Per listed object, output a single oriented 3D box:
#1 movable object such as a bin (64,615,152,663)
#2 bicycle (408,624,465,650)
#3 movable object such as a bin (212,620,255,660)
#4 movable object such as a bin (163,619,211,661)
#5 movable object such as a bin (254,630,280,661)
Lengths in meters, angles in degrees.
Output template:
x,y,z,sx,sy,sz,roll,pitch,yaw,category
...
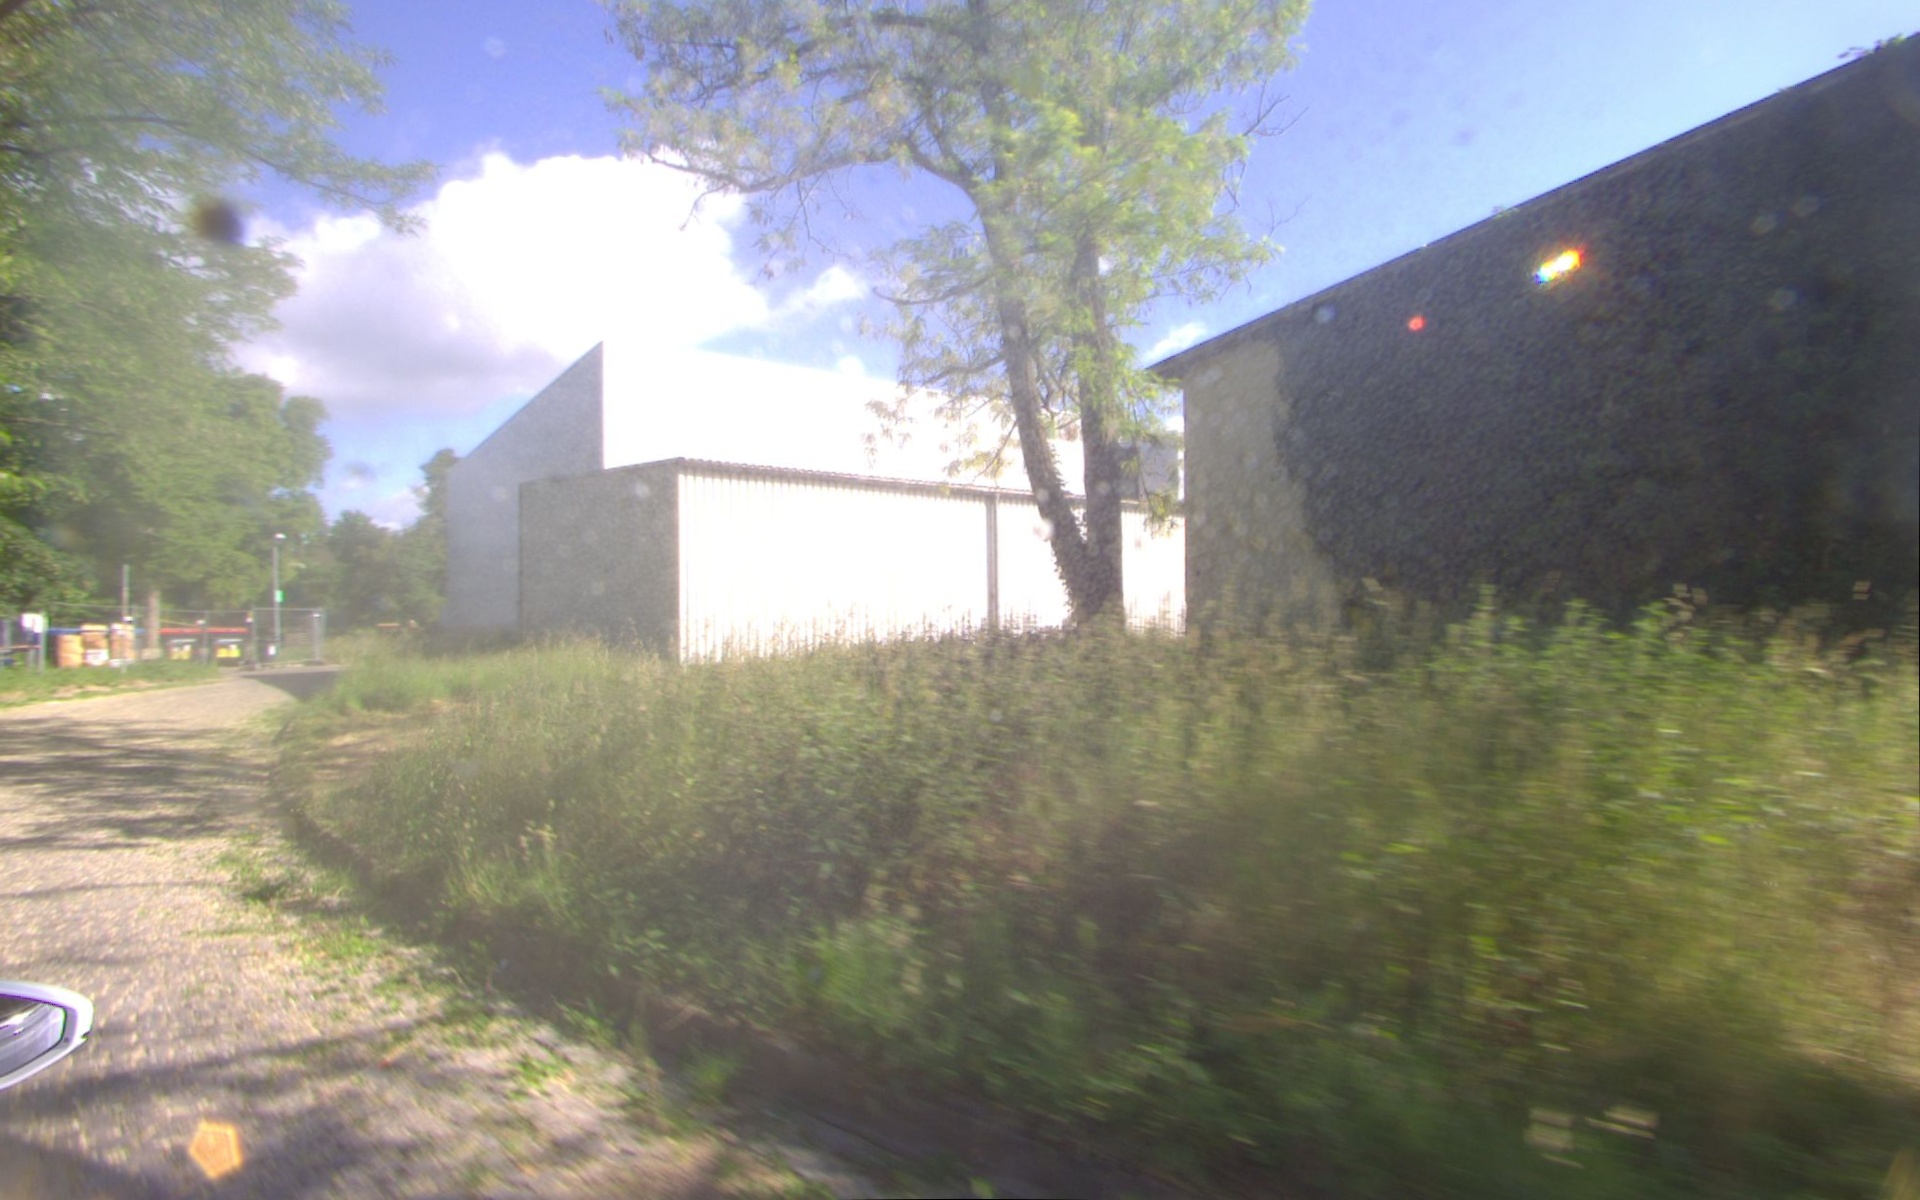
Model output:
x,y,z,sx,sy,sz,roll,pitch,yaw,category
-29.507,1.339,34.717,2.271,1.612,1.164,1,-1,-41,movable object such as a bin
-27.675,1.941,52.944,2.602,1.282,1.134,1,-1,-31,bicycle
-26.796,1.465,36.915,1.235,1.463,0.696,0,-1,-41,movable object such as a bin
-27.938,1.425,36.213,1.328,1.503,0.800,1,-1,-42,movable object such as a bin
-25.954,1.701,37.514,0.728,1.112,0.814,0,-1,-32,movable object such as a bin
